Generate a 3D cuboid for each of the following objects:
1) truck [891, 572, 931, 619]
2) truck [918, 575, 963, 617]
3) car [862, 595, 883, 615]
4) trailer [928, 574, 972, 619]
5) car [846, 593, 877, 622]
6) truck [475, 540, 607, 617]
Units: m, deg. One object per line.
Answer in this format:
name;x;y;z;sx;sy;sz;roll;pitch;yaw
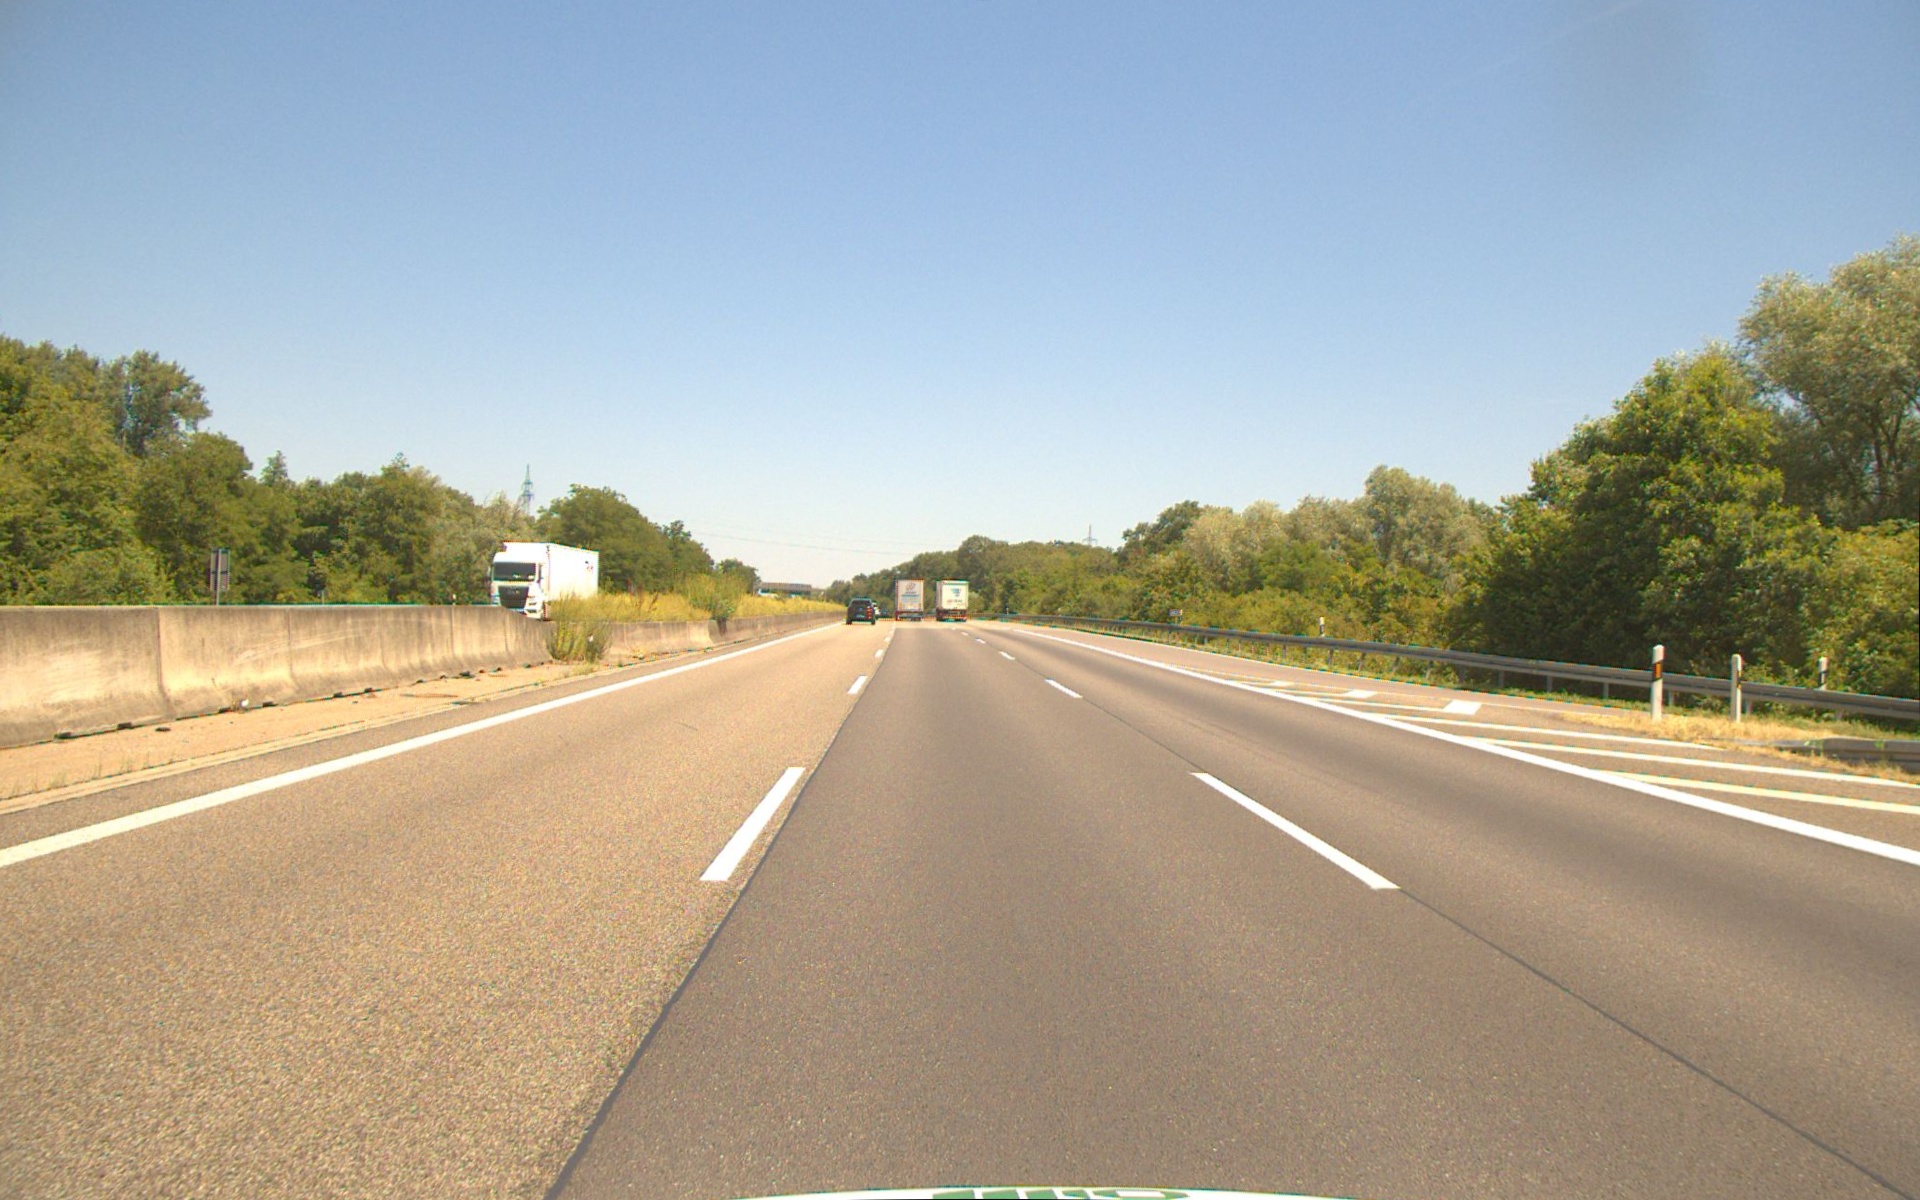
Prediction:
truck;-4.760;-0.438;158.690;3.167;4.275;8.455;1;0;-6
truck;-2.081;-0.405;170.516;3.263;4.124;10.935;1;0;-8
car;-8.738;0.513;164.720;1.954;1.907;3.996;2;0;-5
trailer;-1.059;-0.384;162.658;3.303;4.215;9.079;1;0;-6
car;-6.726;0.504;113.125;1.953;1.907;3.999;1;0;-1
truck;-22.892;-1.107;91.831;3.526;3.800;17.476;1;0;-2
